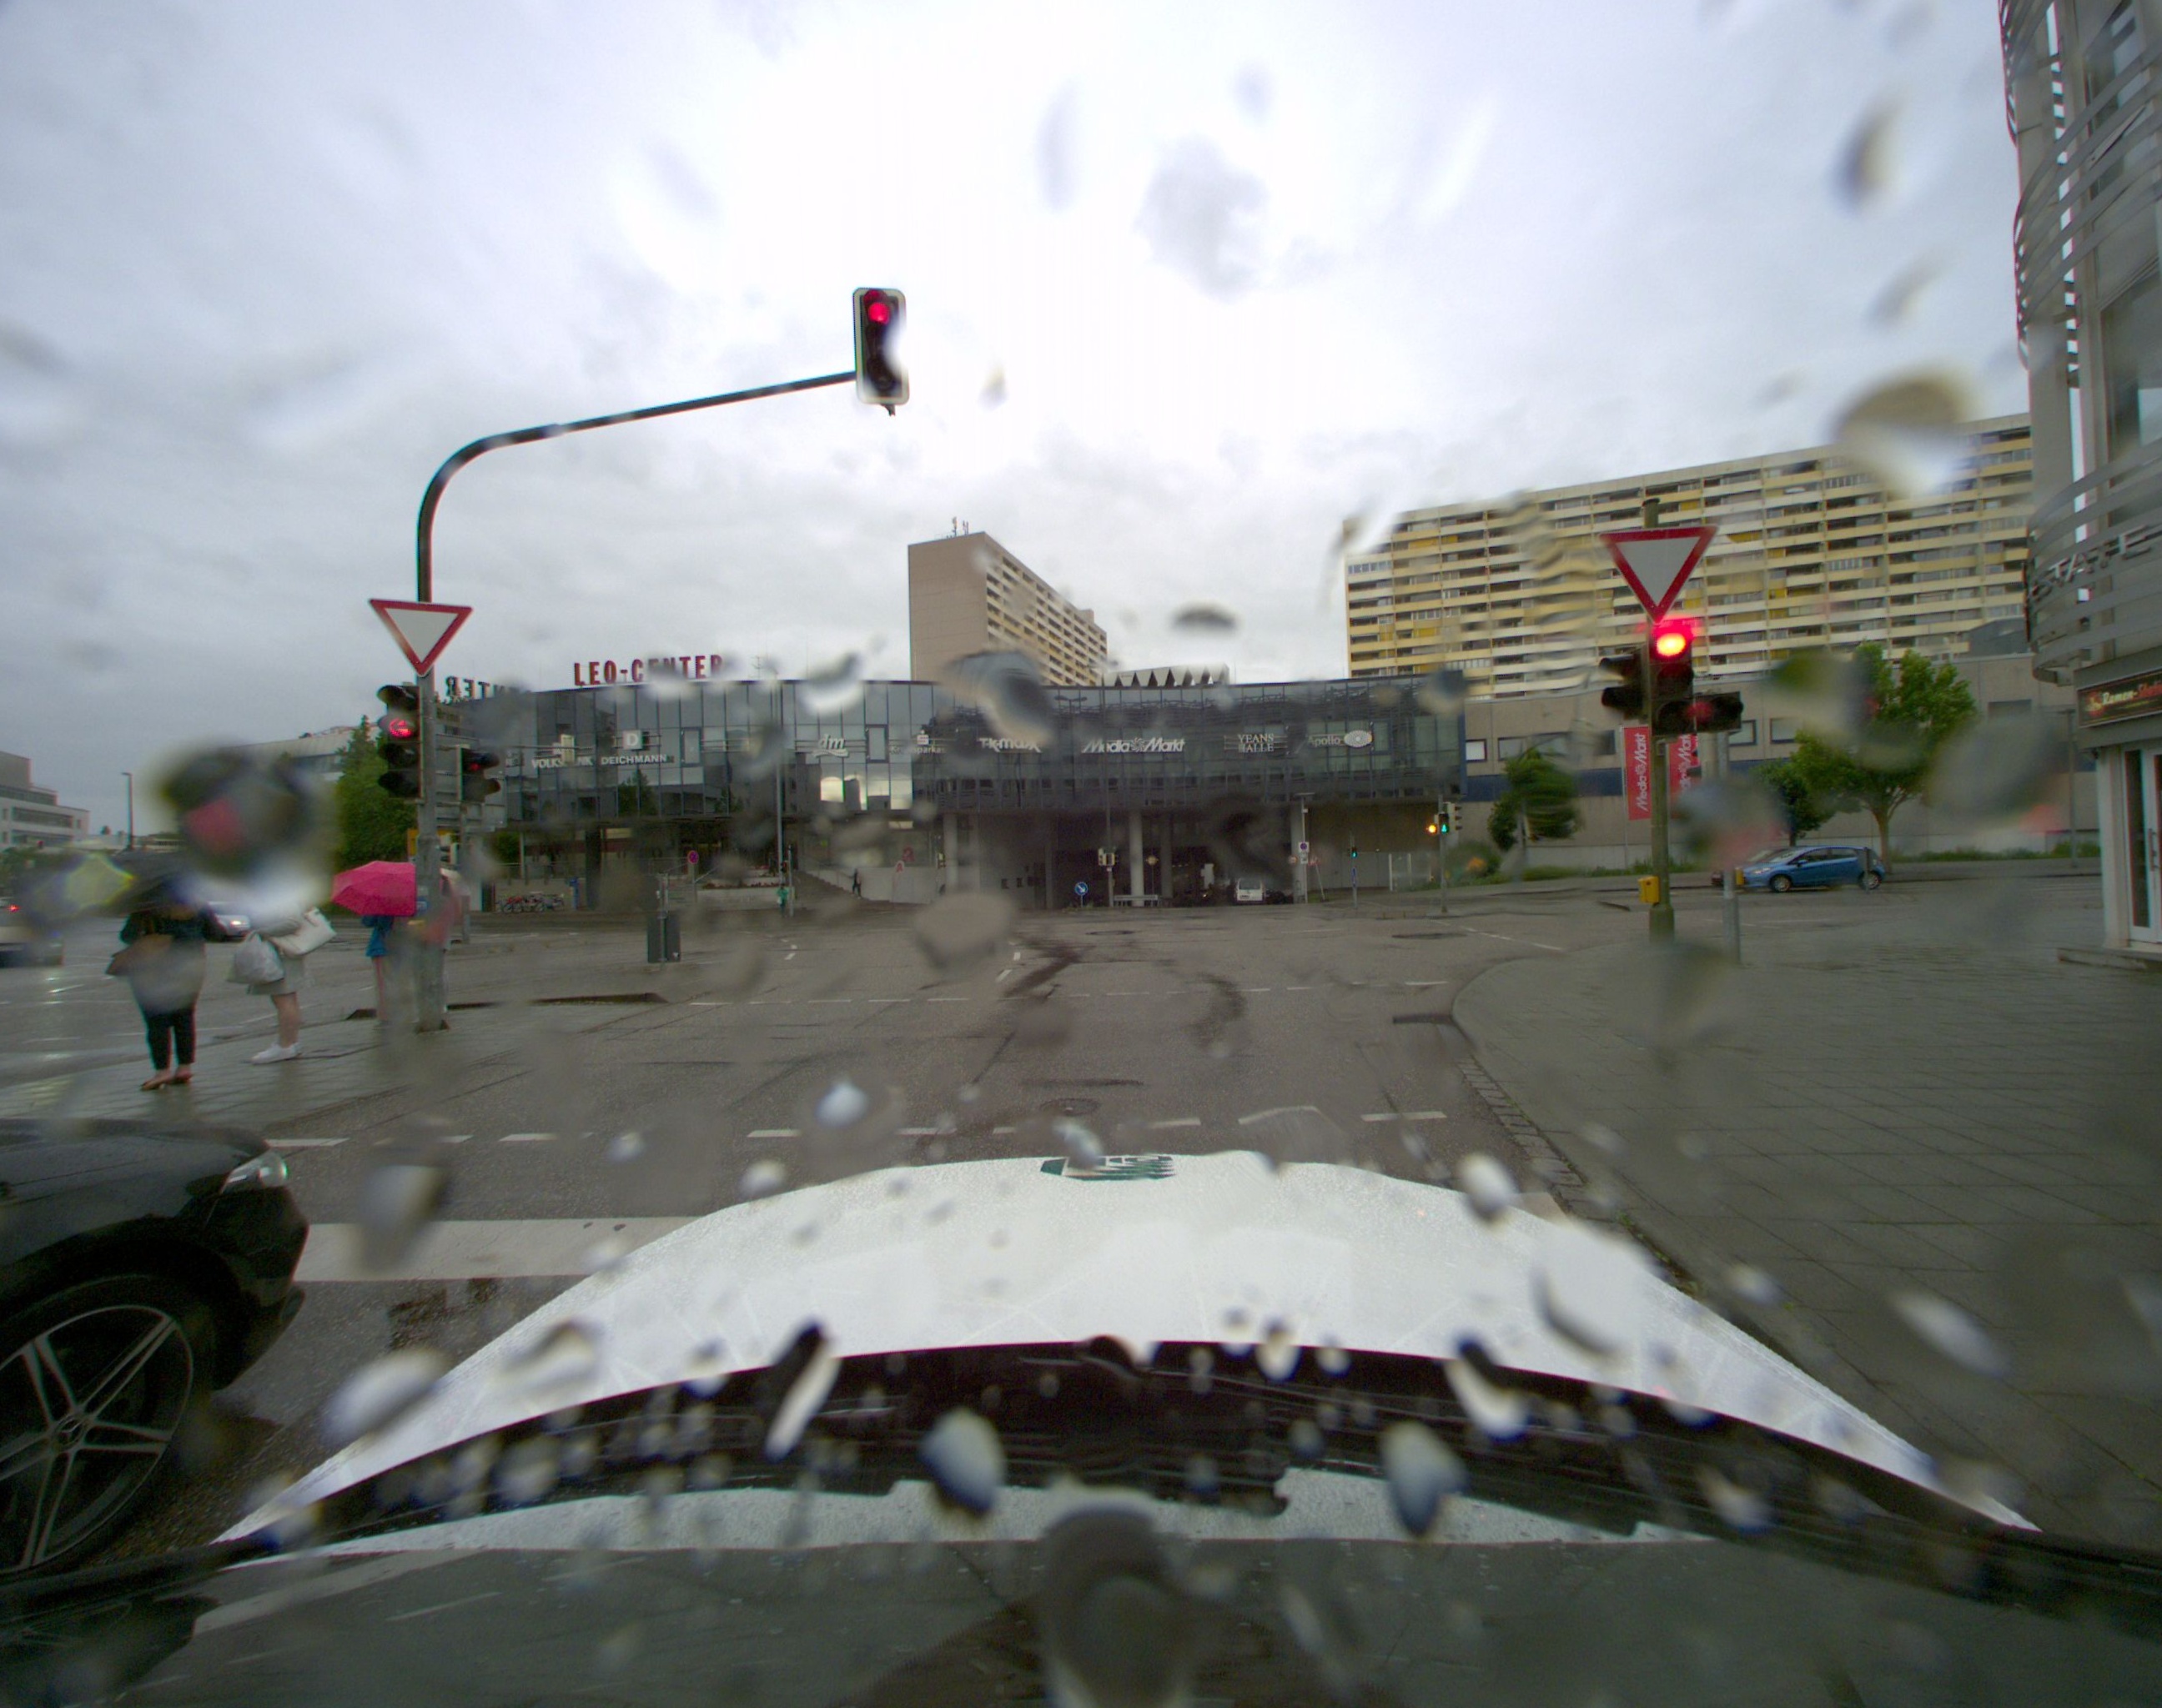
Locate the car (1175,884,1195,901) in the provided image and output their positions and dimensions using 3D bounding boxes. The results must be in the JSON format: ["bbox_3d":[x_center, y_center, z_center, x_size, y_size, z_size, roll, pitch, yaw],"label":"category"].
[{"bbox_3d":[12.262,4.516,95.909,1.823,1.728,4.014,-2,-1,13],"label":"car"}]

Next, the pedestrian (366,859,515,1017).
[{"bbox_3d":[-7.264,0.917,9.282,0.932,1.677,0.917,-2,-1,1],"label":"pedestrian"}]

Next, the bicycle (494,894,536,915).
[{"bbox_3d":[-32.386,2.874,46.623,0.621,1.033,1.865,-3,1,20],"label":"bicycle"}]

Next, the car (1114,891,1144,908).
[{"bbox_3d":[4.431,4.122,74.429,1.756,1.464,3.892,-3,-4,17],"label":"car"}]

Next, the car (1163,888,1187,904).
[{"bbox_3d":[10.518,4.696,91.145,1.899,1.588,3.957,-3,-2,17],"label":"car"}]

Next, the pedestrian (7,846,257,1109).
[{"bbox_3d":[-6.969,0.837,6.055,0.956,1.736,0.829,-2,-2,-28],"label":"pedestrian"}]

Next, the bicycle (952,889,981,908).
[{"bbox_3d":[-6.884,2.674,49.003,1.591,1.018,0.448,5,-3,-29],"label":"bicycle"}]

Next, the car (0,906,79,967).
[{"bbox_3d":[-28.188,2.120,21.070,5.079,1.414,2.136,-3,-2,31],"label":"car"}]

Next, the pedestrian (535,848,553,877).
[{"bbox_3d":[-31.928,0.497,48.436,0.592,1.714,0.658,-1,-1,25],"label":"pedestrian"}]

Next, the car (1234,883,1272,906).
[{"bbox_3d":[11.861,2.827,56.052,1.742,1.464,3.963,-3,-5,23],"label":"car"}]

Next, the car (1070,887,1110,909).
[{"bbox_3d":[0.723,3.413,62.618,1.877,1.470,4.044,-2,-5,18],"label":"car"}]

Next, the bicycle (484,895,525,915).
[{"bbox_3d":[-33.071,2.911,46.761,0.529,0.951,1.865,-1,2,23],"label":"bicycle"}]

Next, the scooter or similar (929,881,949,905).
[{"bbox_3d":[-8.469,2.325,48.537,1.167,1.373,0.487,0,-1,-13],"label":"scooter or similar"}]

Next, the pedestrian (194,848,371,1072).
[{"bbox_3d":[-6.885,0.844,7.023,1.123,1.744,0.865,-3,-1,34],"label":"pedestrian"}]

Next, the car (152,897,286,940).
[{"bbox_3d":[-32.072,2.404,30.319,3.949,1.441,1.754,-2,-1,16],"label":"car"}]

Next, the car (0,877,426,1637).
[{"bbox_3d":[-2.994,0.830,0.614,1.657,1.481,4.094,0,0,0],"label":"car"}]

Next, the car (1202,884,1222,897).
[{"bbox_3d":[17.605,4.886,109.207,1.978,1.464,4.018,-3,-2,17],"label":"car"}]

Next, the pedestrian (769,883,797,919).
[{"bbox_3d":[-14.245,2.239,38.986,0.945,1.623,0.810,-2,-1,3],"label":"pedestrian"}]

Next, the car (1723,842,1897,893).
[{"bbox_3d":[23.484,0.446,26.375,3.819,1.397,1.684,-3,-2,10],"label":"car"}]

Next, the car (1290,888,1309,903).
[{"bbox_3d":[24.280,4.563,90.423,1.874,1.491,3.856,-1,-1,16],"label":"car"}]

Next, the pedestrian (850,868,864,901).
[{"bbox_3d":[-13.072,1.790,47.501,0.655,1.908,0.593,-1,-1,-6],"label":"pedestrian"}]

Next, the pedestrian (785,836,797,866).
[{"bbox_3d":[-17.502,-0.163,49.115,0.633,1.807,0.501,0,-1,-16],"label":"pedestrian"}]

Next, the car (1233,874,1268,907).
[{"bbox_3d":[10.137,2.154,48.497,1.912,1.798,4.310,-2,-3,13],"label":"car"}]

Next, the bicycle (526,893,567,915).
[{"bbox_3d":[-30.088,2.806,45.901,0.625,1.023,1.864,-3,1,20],"label":"bicycle"}]

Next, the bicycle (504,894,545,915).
[{"bbox_3d":[-31.676,2.862,46.378,0.640,1.042,1.865,-3,1,20],"label":"bicycle"}]

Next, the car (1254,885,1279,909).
[{"bbox_3d":[13.870,3.228,60.806,1.621,1.612,4.277,-3,-5,14],"label":"car"}]

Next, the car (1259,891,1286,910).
[{"bbox_3d":[15.483,3.789,65.783,1.765,1.400,4.017,-3,-4,17],"label":"car"}]

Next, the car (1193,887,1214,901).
[{"bbox_3d":[15.257,4.966,101.620,1.978,1.664,4.018,-1,-1,17],"label":"car"}]

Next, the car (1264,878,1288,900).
[{"bbox_3d":[16.897,2.983,70.473,1.777,1.771,4.017,-3,-2,17],"label":"car"}]

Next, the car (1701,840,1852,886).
[{"bbox_3d":[24.858,0.334,29.237,3.660,1.395,1.750,-3,-2,11],"label":"car"}]

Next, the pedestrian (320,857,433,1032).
[{"bbox_3d":[-7.284,0.893,8.424,0.665,1.685,0.811,-4,-2,45],"label":"pedestrian"}]

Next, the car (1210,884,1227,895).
[{"bbox_3d":[19.320,4.950,114.251,1.979,1.464,4.016,-3,-2,15],"label":"car"}]

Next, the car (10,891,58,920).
[{"bbox_3d":[-75.255,3.647,58.557,4.085,1.896,2.062,-1,-1,38],"label":"car"}]
